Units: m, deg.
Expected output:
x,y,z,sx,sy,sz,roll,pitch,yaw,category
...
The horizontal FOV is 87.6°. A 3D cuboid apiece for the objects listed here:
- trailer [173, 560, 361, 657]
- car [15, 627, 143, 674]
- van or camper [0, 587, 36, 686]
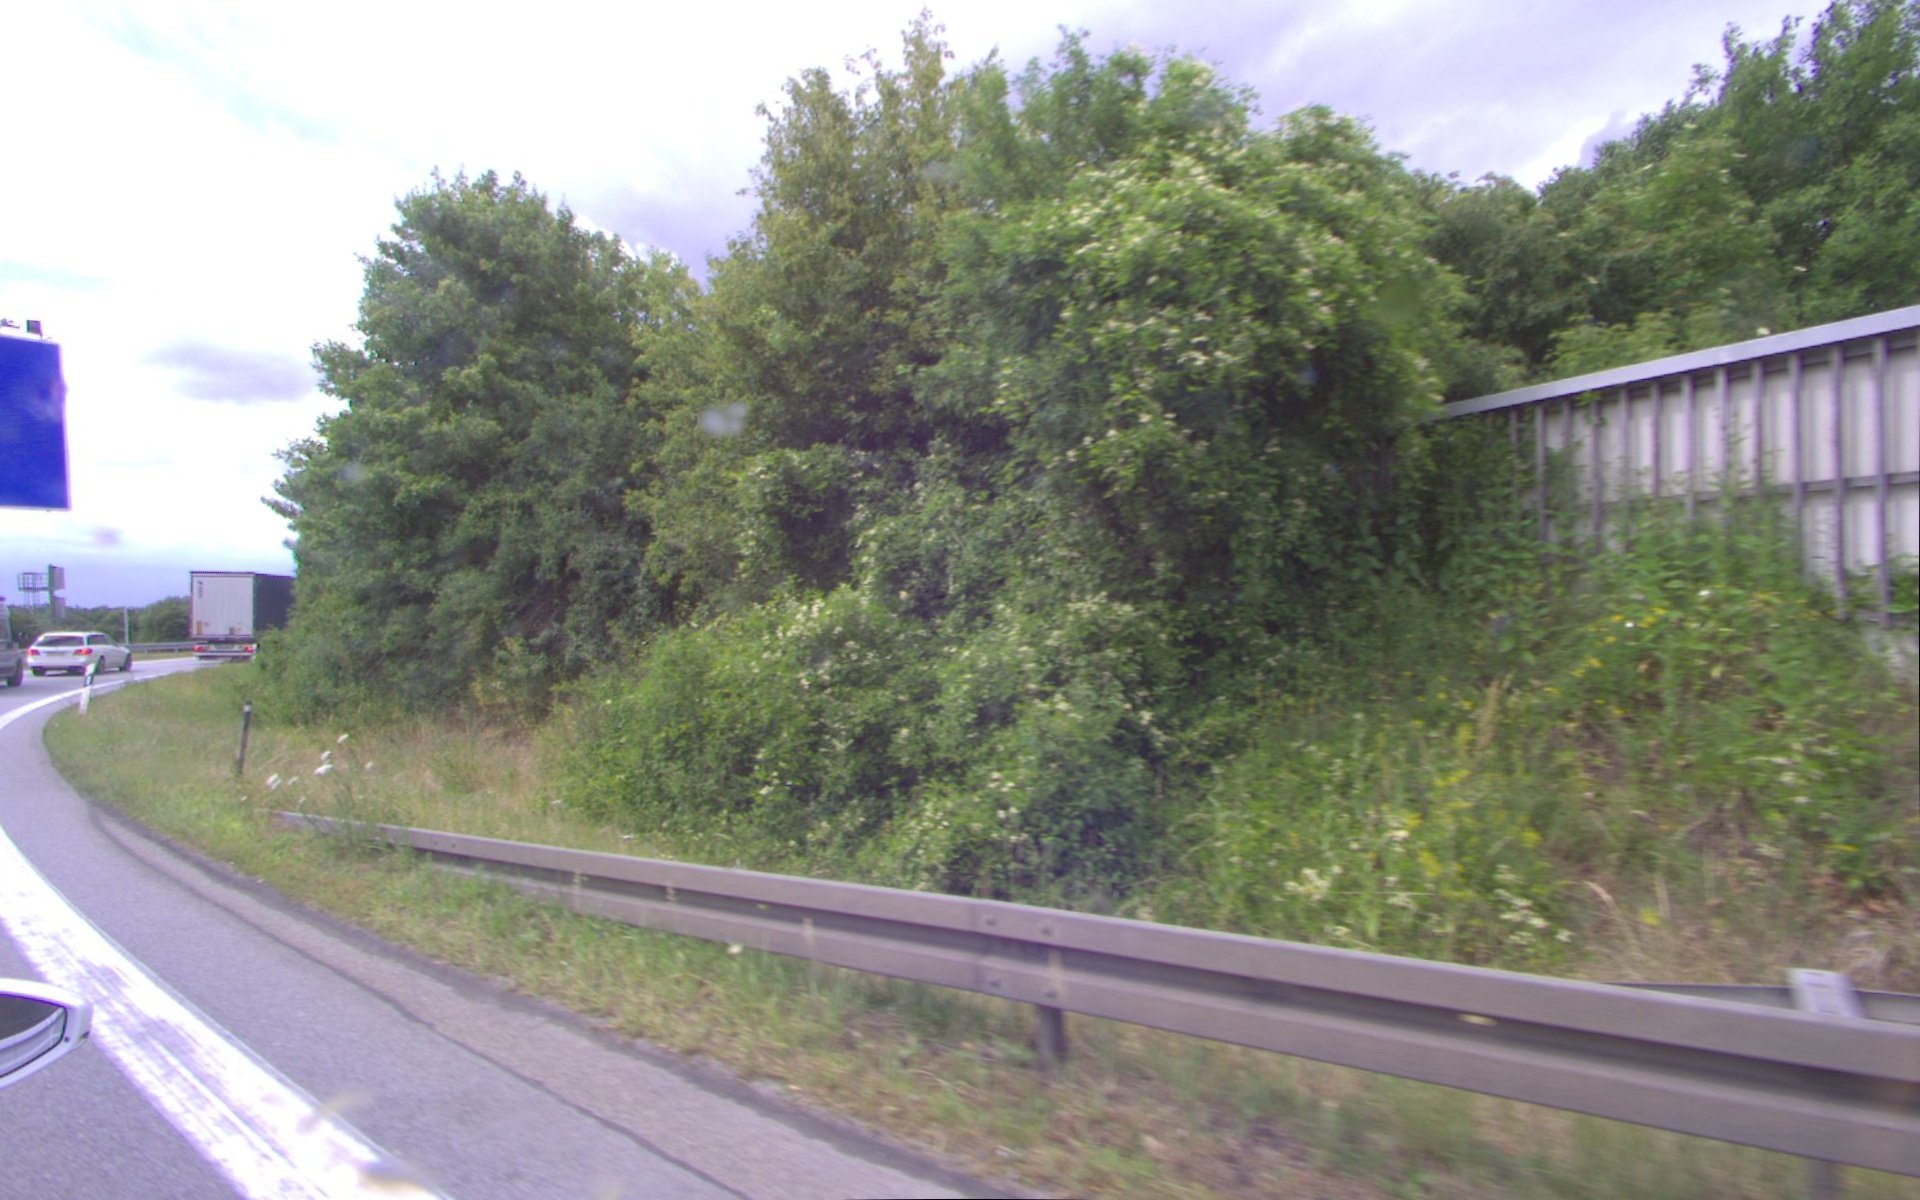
x,y,z,sx,sy,sz,roll,pitch,yaw,category
-34.440,0.529,50.686,3.280,4.247,13.020,0,-1,-13,trailer
-31.514,1.756,36.010,2.179,1.521,4.769,0,-1,-25,car
-26.709,0.976,26.557,2.271,2.602,6.121,0,-1,-34,van or camper
